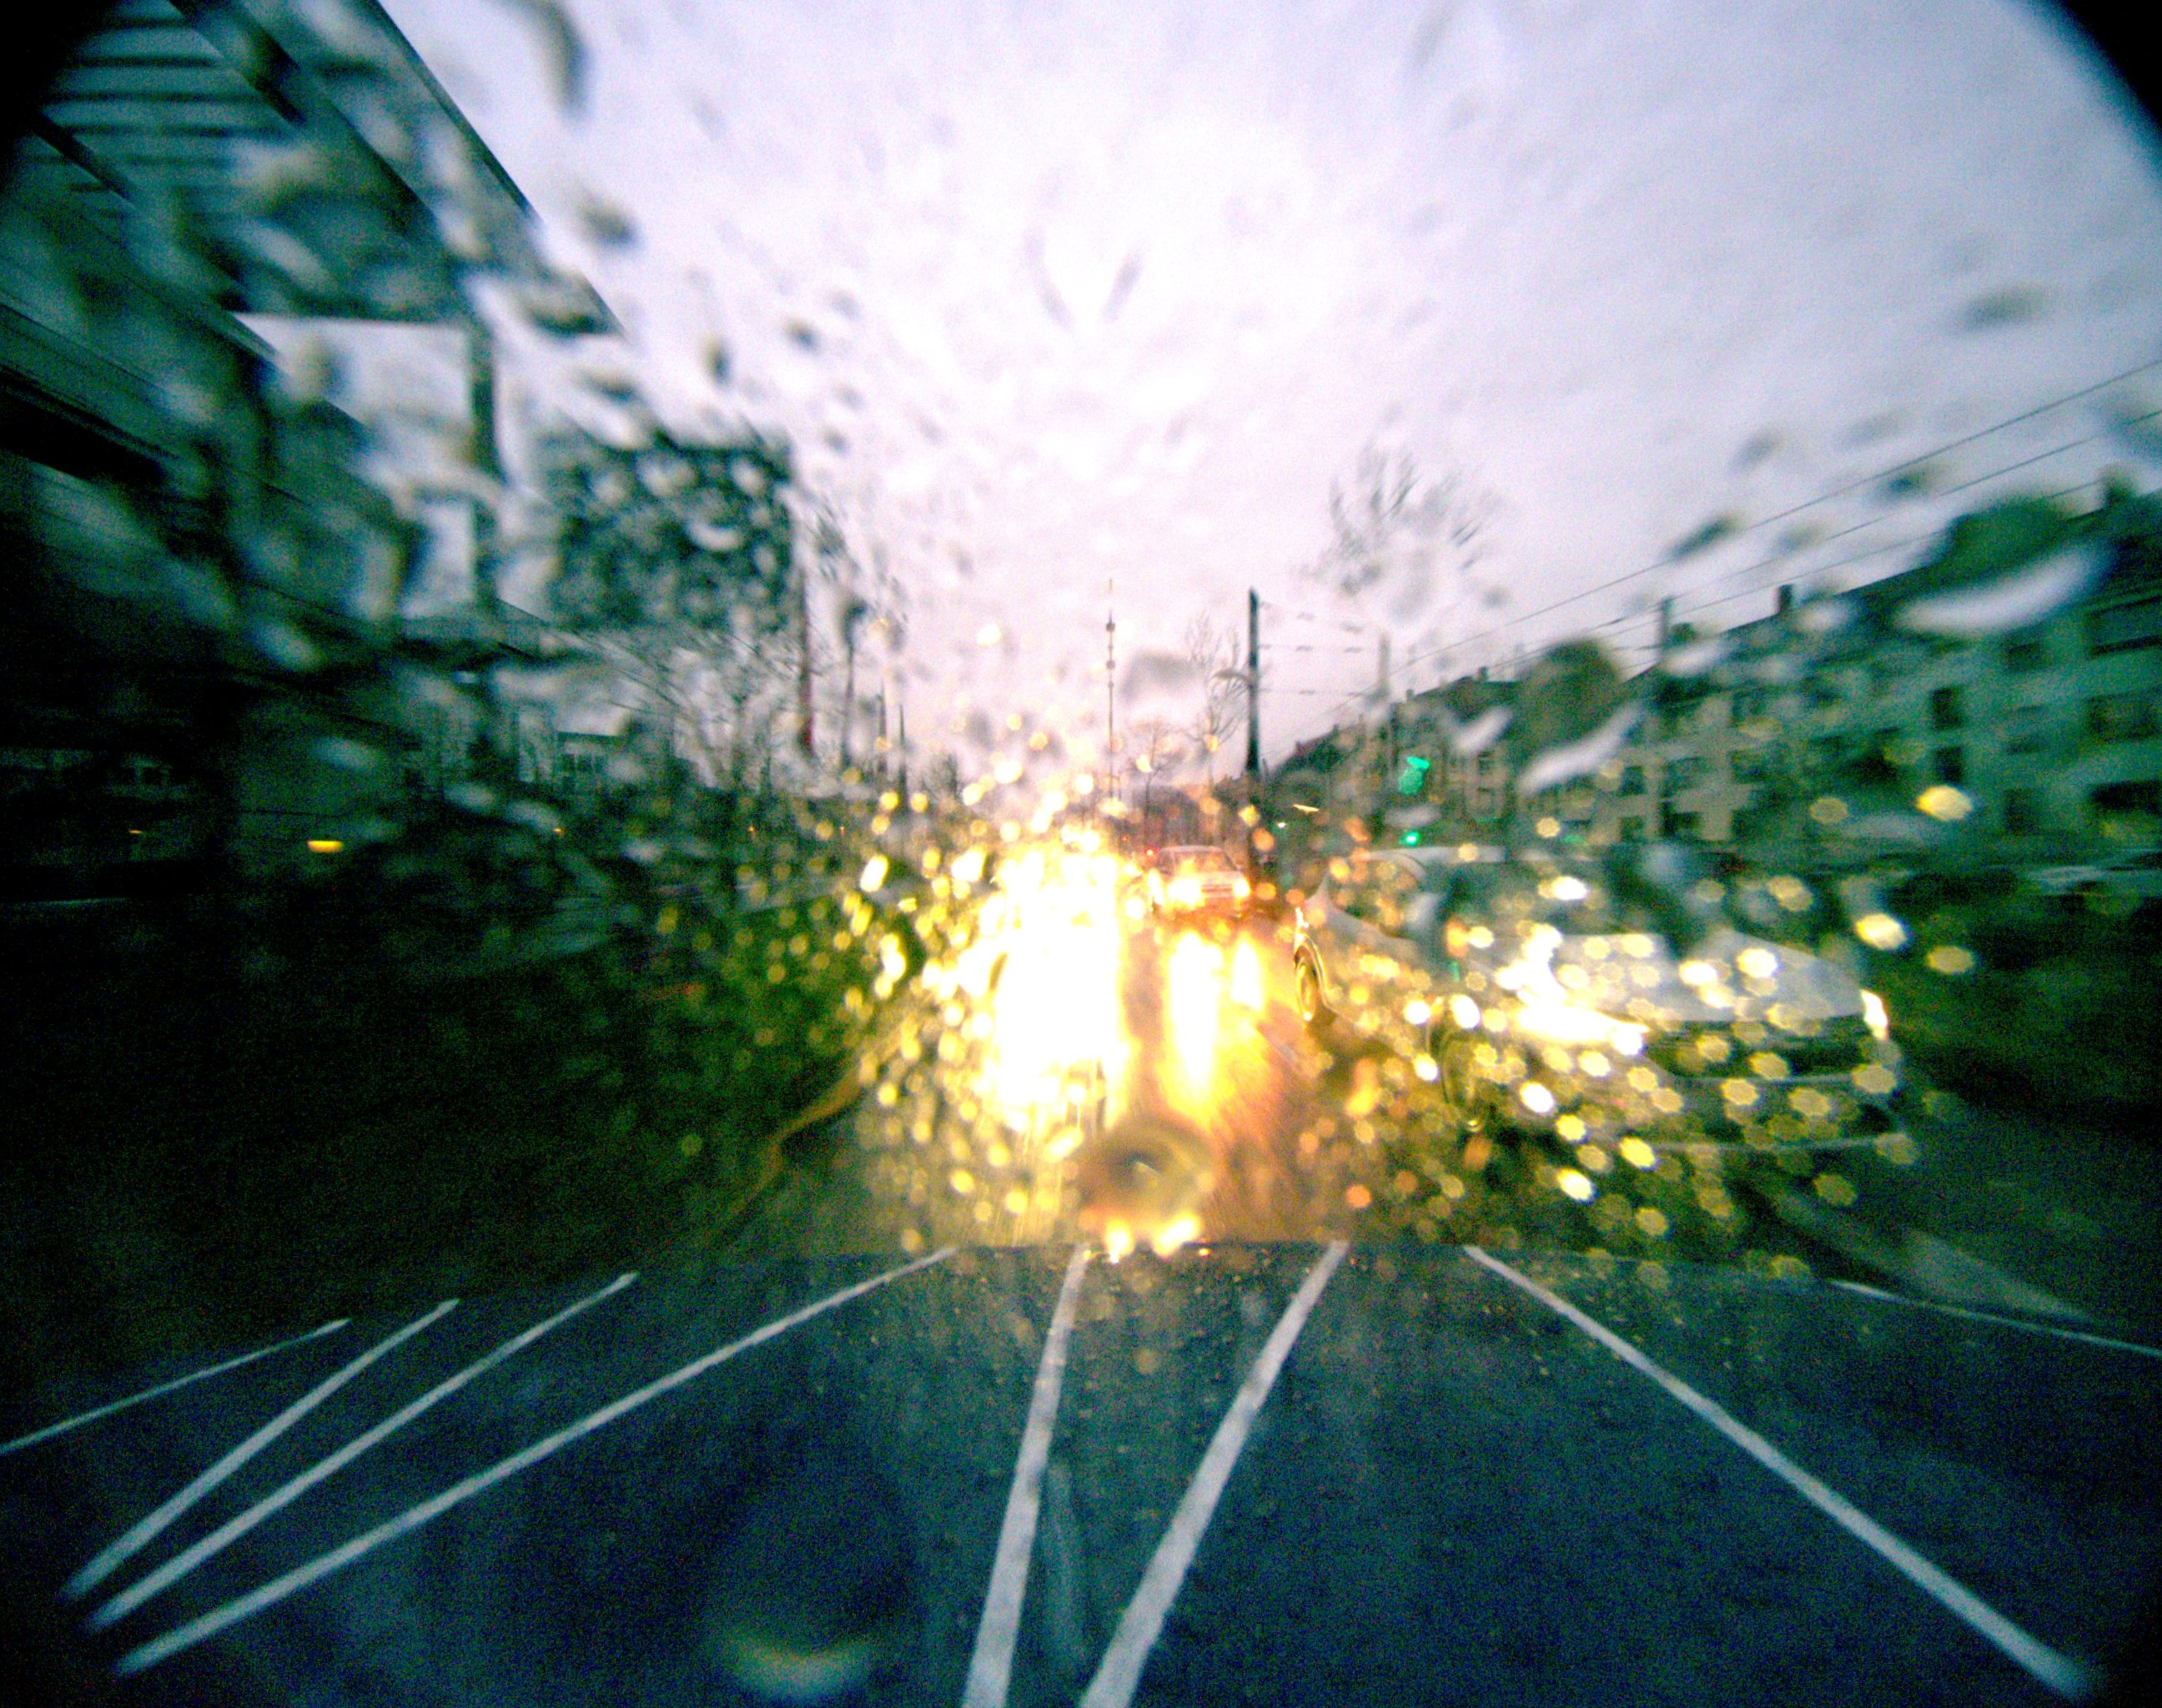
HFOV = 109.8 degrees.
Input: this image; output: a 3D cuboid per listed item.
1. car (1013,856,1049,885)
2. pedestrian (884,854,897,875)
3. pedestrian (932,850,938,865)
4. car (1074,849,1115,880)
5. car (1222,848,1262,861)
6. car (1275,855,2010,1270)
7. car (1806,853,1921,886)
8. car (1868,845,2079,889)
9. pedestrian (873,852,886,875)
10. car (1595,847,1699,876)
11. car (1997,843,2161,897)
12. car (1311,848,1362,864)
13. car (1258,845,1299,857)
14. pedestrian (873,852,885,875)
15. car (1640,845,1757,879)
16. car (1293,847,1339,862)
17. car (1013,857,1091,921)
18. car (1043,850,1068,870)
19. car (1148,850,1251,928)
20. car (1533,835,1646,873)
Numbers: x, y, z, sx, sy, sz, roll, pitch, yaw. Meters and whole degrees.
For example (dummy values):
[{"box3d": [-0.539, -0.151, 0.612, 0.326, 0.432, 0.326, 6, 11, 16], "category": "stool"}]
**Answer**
[{"box3d": [-2.631, 0.816, 39.646, 1.737, 1.311, 3.801, -2, 1, -5], "category": "car"}, {"box3d": [-14.653, 0.812, 58.454, 0.674, 1.603, 0.614, -2, 1, 9], "category": "pedestrian"}, {"box3d": [-16.818, 0.379, 87.287, 0.669, 1.646, 0.993, 0, 1, -10], "category": "pedestrian"}, {"box3d": [0.671, 0.507, 40.139, 1.905, 1.475, 3.654, -2, 1, -2], "category": "car"}, {"box3d": [20.810, 0.086, 98.357, 4.651, 1.423, 1.697, -2, 1, 31], "category": "car"}, {"box3d": [2.651, 0.791, 4.879, 1.693, 1.466, 4.000, -2, 1, -1], "category": "car"}, {"box3d": [26.620, 0.526, 25.946, 2.386, 1.042, 1.439, -3, 0, 28], "category": "car"}, {"box3d": [26.659, 0.410, 22.902, 3.811, 1.165, 1.741, -2, 1, 36], "category": "car"}, {"box3d": [-14.901, 0.703, 56.247, 0.674, 1.616, 0.615, -2, 1, 11], "category": "pedestrian"}, {"box3d": [25.998, 0.342, 35.036, 3.563, 1.134, 1.740, -3, 1, 28], "category": "car"}, {"box3d": [27.132, 0.391, 19.766, 3.834, 1.238, 1.740, -3, 1, 26], "category": "car"}, {"box3d": [23.795, 0.191, 70.760, 4.095, 1.154, 1.714, -4, 2, 34], "category": "car"}, {"box3d": [23.201, -0.369, 89.491, 4.254, 1.250, 1.837, -2, 1, 36], "category": "car"}, {"box3d": [-15.519, 0.730, 58.421, 0.674, 1.767, 0.614, -2, 1, 9], "category": "pedestrian"}, {"box3d": [26.309, 0.347, 32.522, 3.572, 1.301, 1.689, -3, 1, 28], "category": "car"}, {"box3d": [22.901, 0.046, 74.149, 4.034, 1.223, 1.350, -4, 2, 32], "category": "car"}, {"box3d": [-0.804, 0.779, 18.814, 1.670, 1.325, 3.785, -2, 1, -5], "category": "car"}, {"box3d": [-1.887, 0.383, 54.856, 1.538, 1.347, 3.544, -2, 1, -5], "category": "car"}, {"box3d": [2.577, 0.702, 17.343, 1.638, 1.511, 3.907, -2, 1, -1], "category": "car"}, {"box3d": [25.874, 0.010, 38.873, 4.647, 1.713, 1.836, -3, 1, 29], "category": "car"}]
